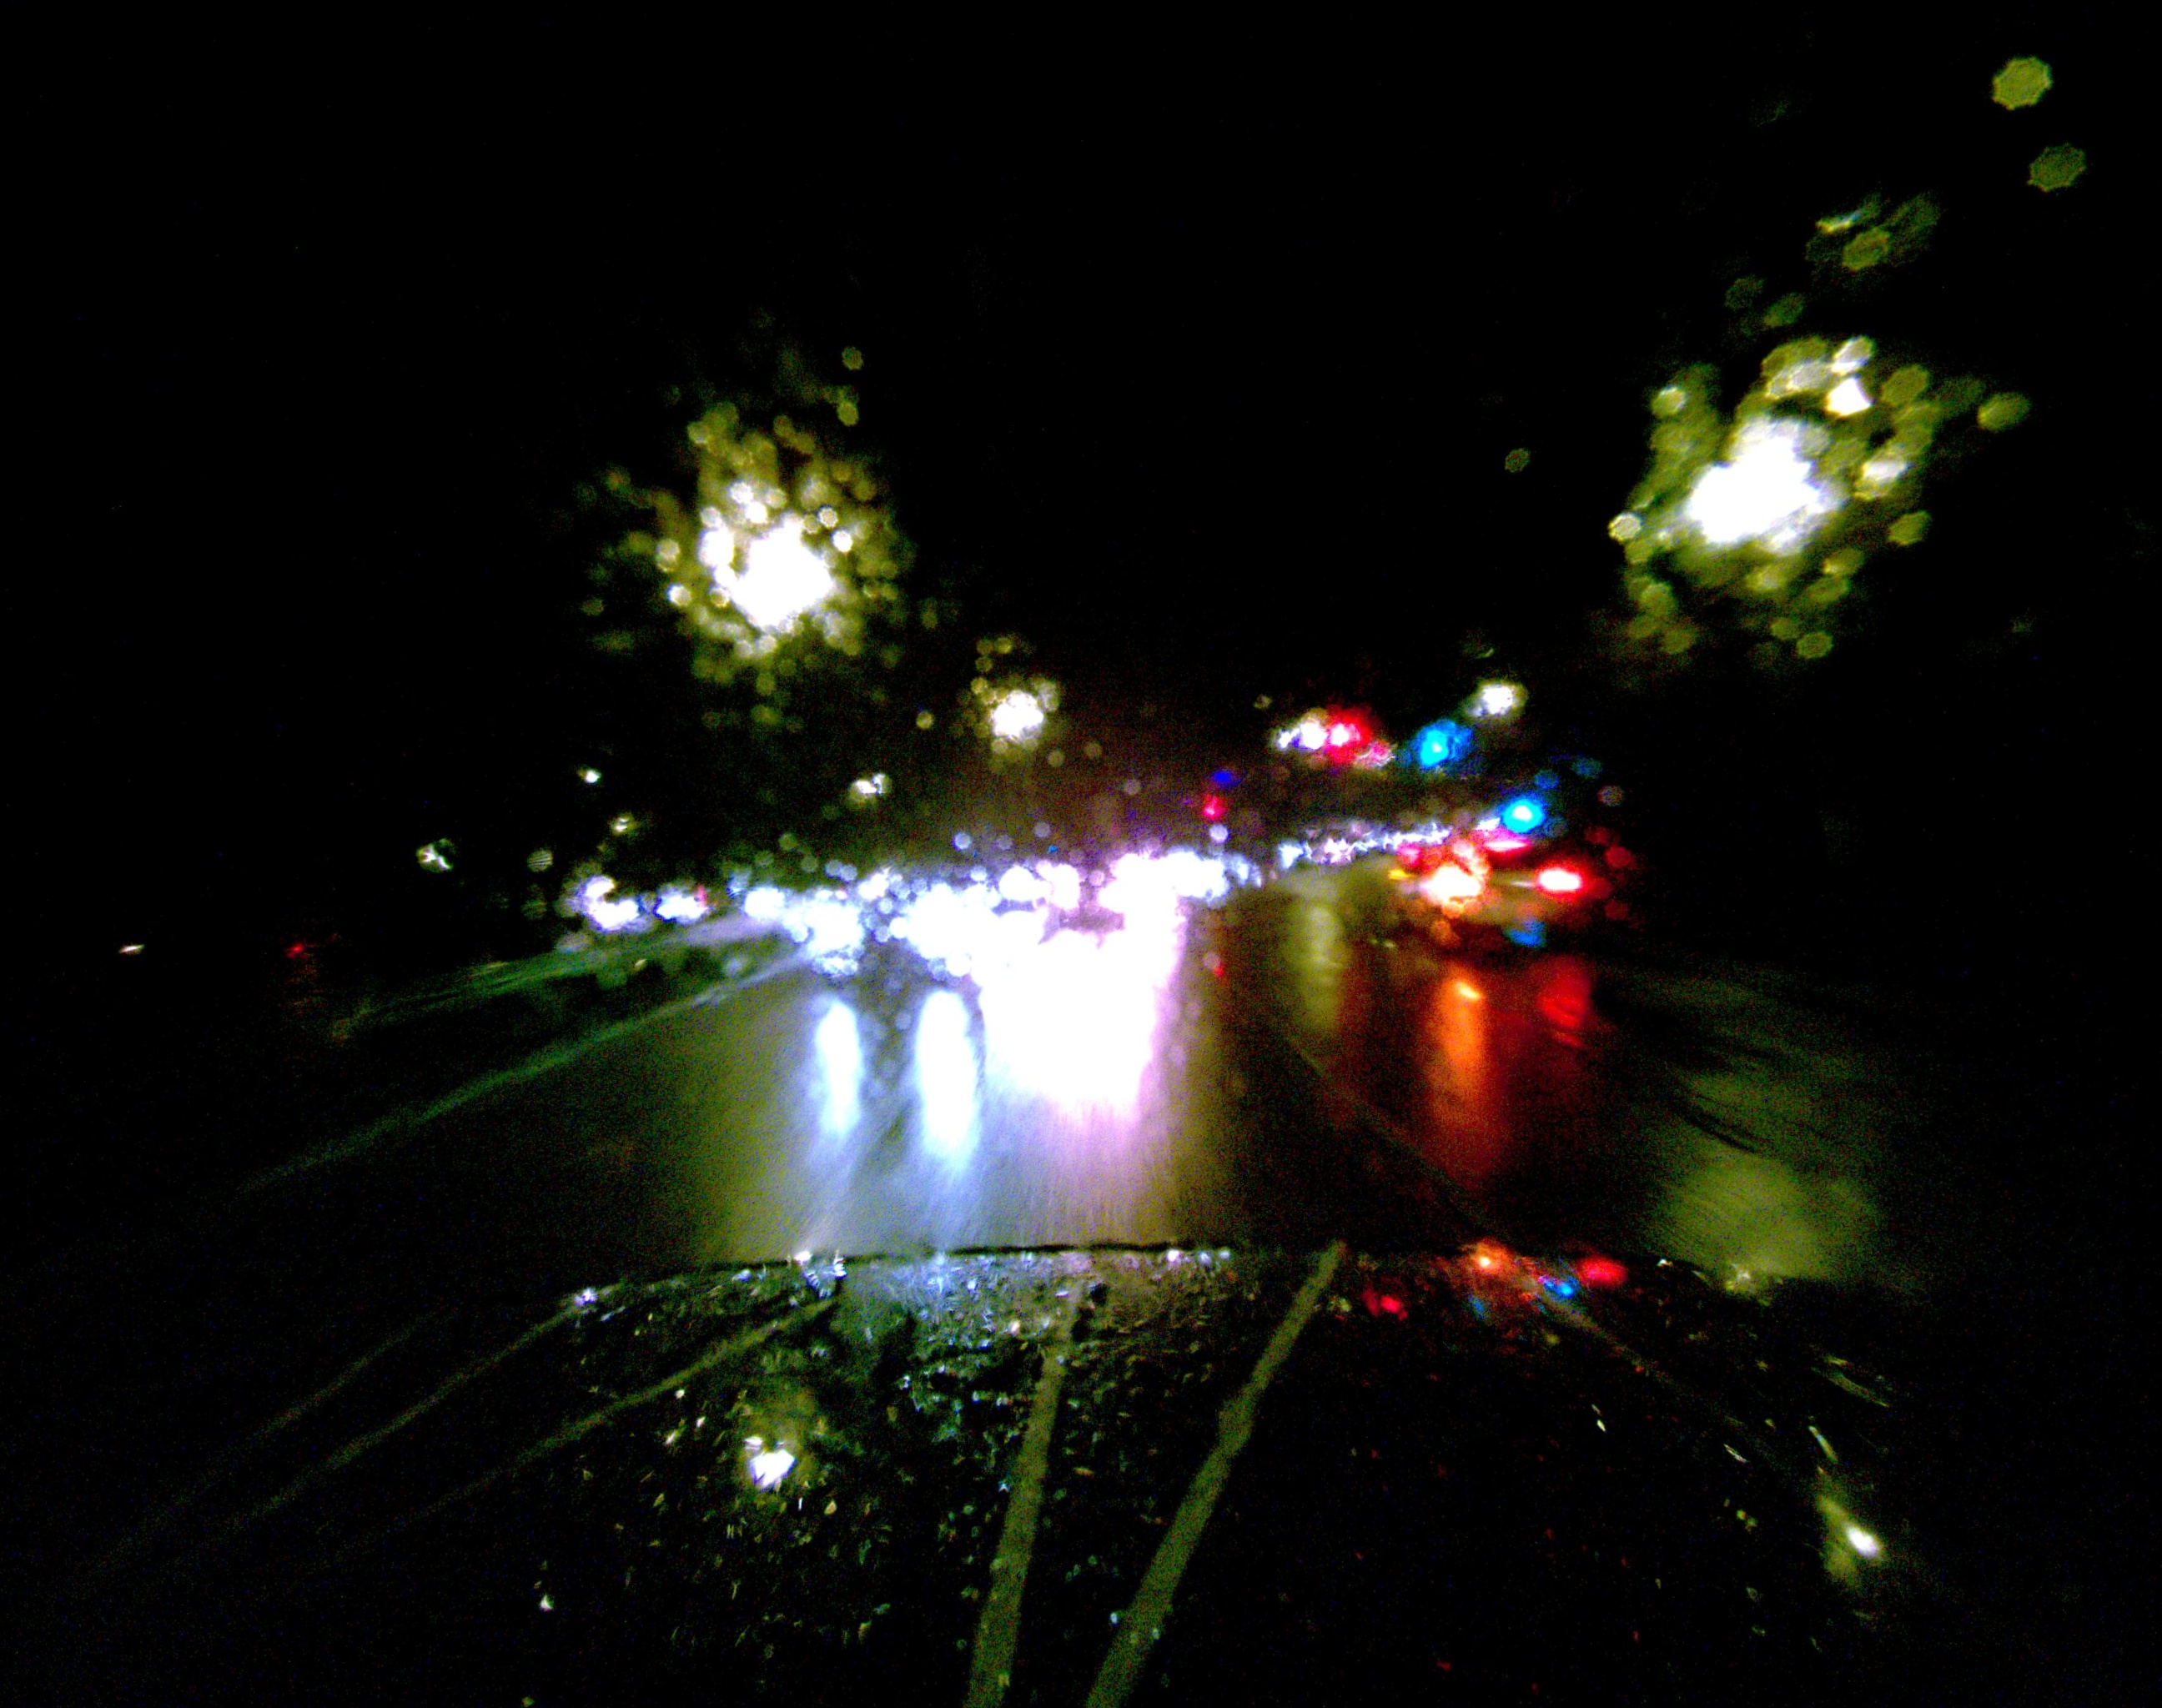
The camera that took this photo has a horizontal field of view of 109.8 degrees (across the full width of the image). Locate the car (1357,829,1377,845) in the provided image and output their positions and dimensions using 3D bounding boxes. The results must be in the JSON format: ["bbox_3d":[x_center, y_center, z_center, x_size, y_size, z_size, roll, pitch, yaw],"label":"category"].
[{"bbox_3d":[40.318,-2.385,107.040,1.865,2.002,4.007,-3,0,32],"label":"car"}]

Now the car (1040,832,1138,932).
[{"bbox_3d":[0.326,0.567,18.766,1.998,2.003,3.999,-4,3,5],"label":"car"}]

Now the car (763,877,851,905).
[{"bbox_3d":[-15.163,2.052,42.007,4.534,1.400,2.003,-2,0,29],"label":"car"}]

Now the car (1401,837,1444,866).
[{"bbox_3d":[20.035,-0.148,44.738,1.987,1.595,4.840,-2,0,21],"label":"car"}]

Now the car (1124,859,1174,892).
[{"bbox_3d":[4.572,1.390,50.642,1.866,2.002,4.007,-3,0,26],"label":"car"}]

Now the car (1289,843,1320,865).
[{"bbox_3d":[22.408,-0.008,76.113,1.865,2.002,4.007,-3,0,31],"label":"car"}]

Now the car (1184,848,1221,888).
[{"bbox_3d":[7.964,0.866,49.416,1.997,2.003,4.000,-8,3,11],"label":"car"}]

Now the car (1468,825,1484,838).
[{"bbox_3d":[59.900,-3.359,115.247,1.739,1.845,4.007,-3,0,31],"label":"car"}]

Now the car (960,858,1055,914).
[{"bbox_3d":[-2.316,0.993,25.213,2.045,1.610,4.290,-3,0,9],"label":"car"}]

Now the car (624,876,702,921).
[{"bbox_3d":[-23.544,2.496,42.750,3.991,2.003,1.765,-7,3,30],"label":"car"}]

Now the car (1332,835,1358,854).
[{"bbox_3d":[29.963,-1.115,86.222,1.865,2.002,4.007,-3,0,32],"label":"car"}]

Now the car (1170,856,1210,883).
[{"bbox_3d":[8.857,1.212,61.577,1.832,2.002,4.007,-3,0,29],"label":"car"}]

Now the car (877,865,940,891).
[{"bbox_3d":[-13.146,1.801,58.030,4.258,1.688,2.001,-3,0,3],"label":"car"}]

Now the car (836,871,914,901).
[{"bbox_3d":[-12.246,1.906,45.258,4.108,1.630,2.003,-2,0,26],"label":"car"}]

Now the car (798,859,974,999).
[{"bbox_3d":[-2.778,0.963,11.826,1.928,1.704,4.237,-1,0,-5],"label":"car"}]

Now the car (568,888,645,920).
[{"bbox_3d":[-28.956,3.052,46.354,4.336,1.630,2.003,-4,0,29],"label":"car"}]

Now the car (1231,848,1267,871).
[{"bbox_3d":[16.211,0.499,73.269,1.995,2.002,4.007,-3,0,33],"label":"car"}]

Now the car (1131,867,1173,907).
[{"bbox_3d":[3.265,1.458,34.470,1.304,1.520,3.049,-8,-2,14],"label":"car"}]

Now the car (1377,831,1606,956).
[{"bbox_3d":[6.597,0.540,12.885,2.002,1.665,4.620,-3,0,10],"label":"car"}]

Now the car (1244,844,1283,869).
[{"bbox_3d":[15.570,0.202,64.722,1.995,2.002,4.007,-3,0,30],"label":"car"}]

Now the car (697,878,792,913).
[{"bbox_3d":[-17.606,2.154,39.674,4.770,1.630,2.003,-2,0,29],"label":"car"}]

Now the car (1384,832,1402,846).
[{"bbox_3d":[48.106,-2.324,117.062,1.865,2.002,4.007,-3,0,32],"label":"car"}]
